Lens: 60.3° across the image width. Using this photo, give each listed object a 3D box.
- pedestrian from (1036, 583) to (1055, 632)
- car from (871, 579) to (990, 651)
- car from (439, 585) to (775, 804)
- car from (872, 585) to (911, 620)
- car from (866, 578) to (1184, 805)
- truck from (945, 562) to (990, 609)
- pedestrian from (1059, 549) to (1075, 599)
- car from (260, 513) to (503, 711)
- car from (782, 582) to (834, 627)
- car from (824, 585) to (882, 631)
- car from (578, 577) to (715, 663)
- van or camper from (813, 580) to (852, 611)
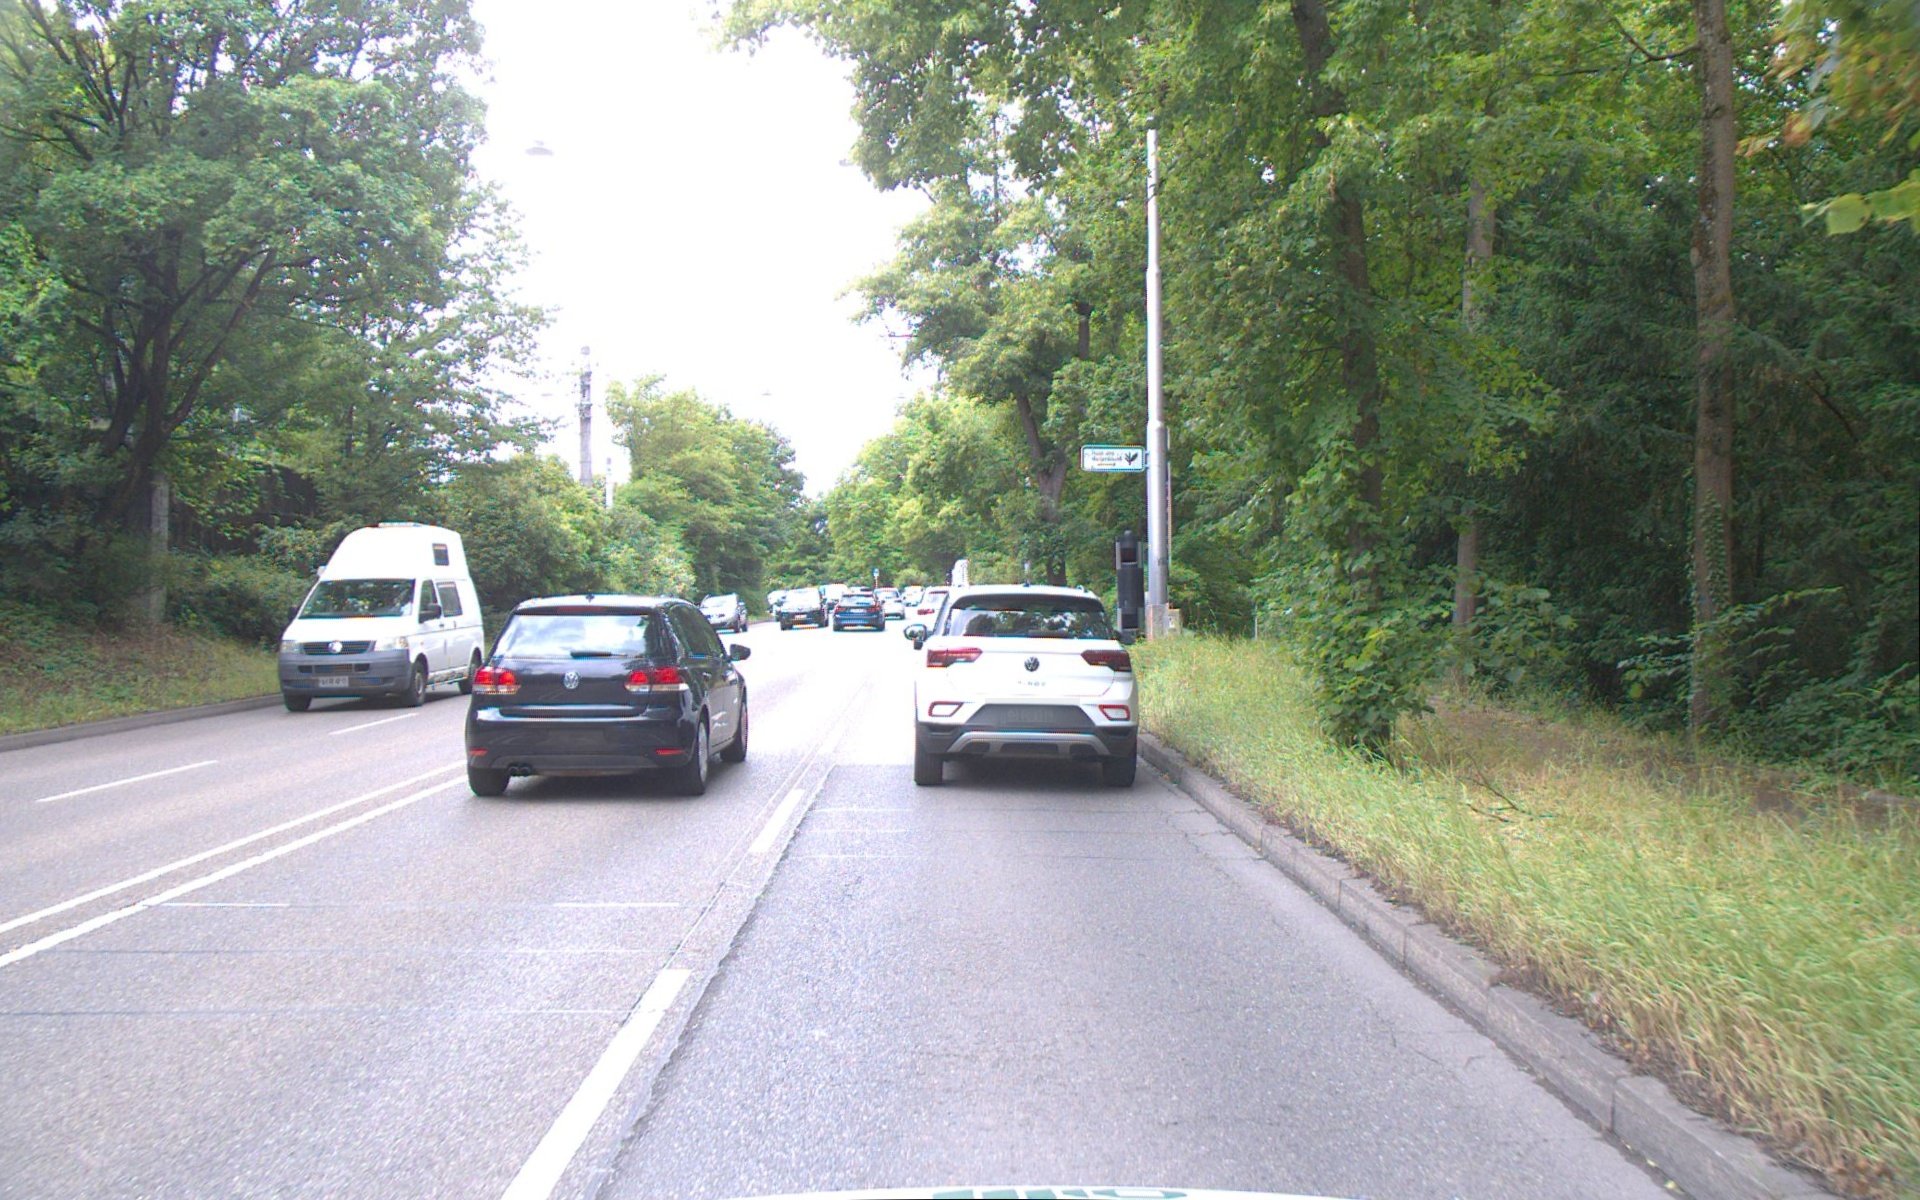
[{"bbox_3d":[3.036,0.250,58.845,0.597,1.727,0.548,1,0,-4],"label":"pedestrian"},{"bbox_3d":[-0.840,0.365,44.232,1.826,1.732,3.973,-3,2,-22],"label":"car"},{"bbox_3d":[-2.657,0.657,13.420,1.910,1.492,3.999,1,0,-1],"label":"car"},{"bbox_3d":[-3.336,0.109,81.280,1.784,1.651,3.999,1,0,-1],"label":"car"},{"bbox_3d":[0.373,0.661,13.964,1.963,1.624,3.992,1,0,-9],"label":"car"},{"bbox_3d":[0.501,-1.001,119.177,2.434,3.237,7.219,1,0,-6],"label":"truck"},{"bbox_3d":[3.820,-0.924,59.116,0.509,1.784,0.524,1,0,-4],"label":"pedestrian"},{"bbox_3d":[-8.490,0.158,24.785,1.849,2.600,4.914,-2,0,0],"label":"car"},{"bbox_3d":[-6.387,0.234,69.970,1.773,1.691,4.828,-2,-2,0],"label":"car"},{"bbox_3d":[-3.955,0.296,61.794,1.953,1.620,3.999,1,0,-1],"label":"car"},{"bbox_3d":[-5.862,0.355,31.394,1.801,1.491,4.465,1,0,-1],"label":"car"},{"bbox_3d":[-9.175,-0.283,118.402,1.959,2.048,5.351,-4,0,-12],"label":"van or camper"}]
